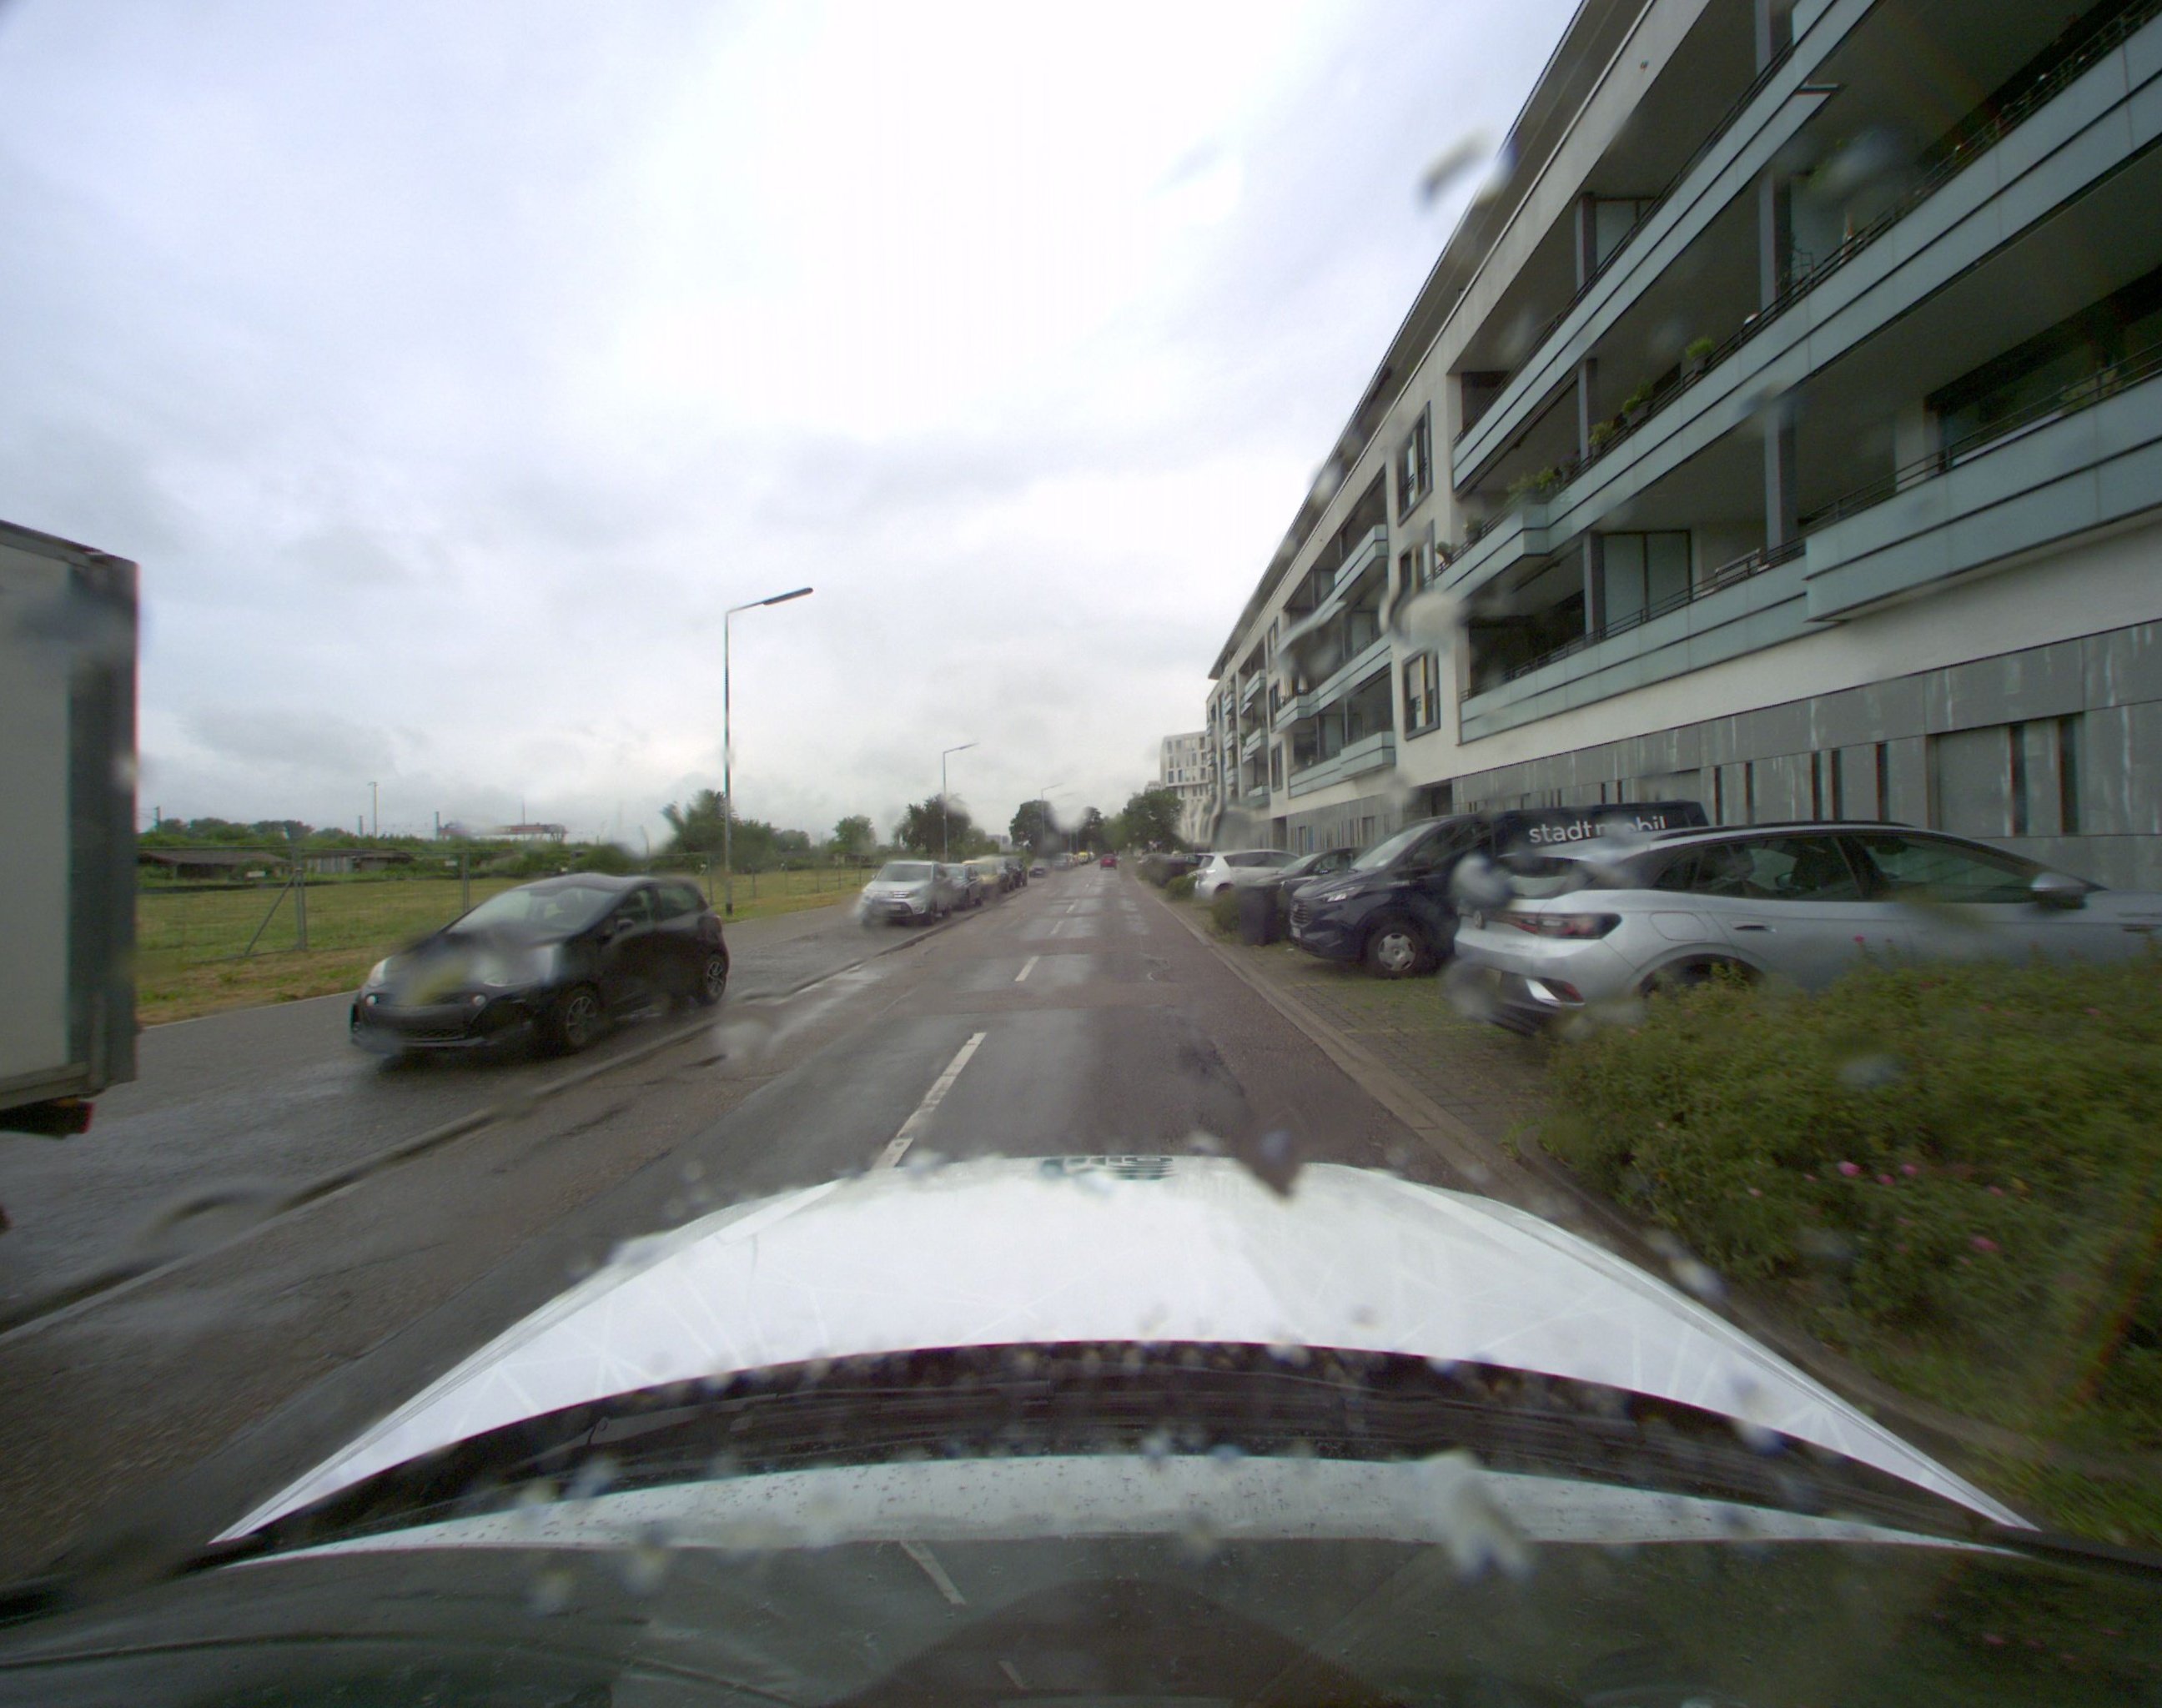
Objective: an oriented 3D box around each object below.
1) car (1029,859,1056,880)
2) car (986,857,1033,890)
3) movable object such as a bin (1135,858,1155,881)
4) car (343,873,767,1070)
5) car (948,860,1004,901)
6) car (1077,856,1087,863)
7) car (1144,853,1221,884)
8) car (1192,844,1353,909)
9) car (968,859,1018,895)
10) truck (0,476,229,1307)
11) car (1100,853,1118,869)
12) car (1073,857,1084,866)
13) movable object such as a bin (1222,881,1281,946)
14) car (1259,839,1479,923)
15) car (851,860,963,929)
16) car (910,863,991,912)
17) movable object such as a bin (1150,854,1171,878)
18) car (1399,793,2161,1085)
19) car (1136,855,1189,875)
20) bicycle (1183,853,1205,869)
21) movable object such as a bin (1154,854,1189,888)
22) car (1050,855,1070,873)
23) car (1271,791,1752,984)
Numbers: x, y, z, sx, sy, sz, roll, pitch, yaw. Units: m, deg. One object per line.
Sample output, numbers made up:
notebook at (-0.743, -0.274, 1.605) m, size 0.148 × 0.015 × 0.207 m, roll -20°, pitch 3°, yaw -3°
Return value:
car at (-3.148, 1.236, 66.580) m, size 1.840 × 1.561 × 4.154 m, roll 1°, pitch 0°, yaw 2°
car at (-3.911, 1.023, 45.340) m, size 1.744 × 1.693 × 4.887 m, roll -1°, pitch 0°, yaw 5°
movable object such as a bin at (4.544, 1.068, 58.074) m, size 1.295 × 1.526 × 1.582 m, roll -3°, pitch 0°, yaw 2°
car at (-5.051, 0.997, 8.651) m, size 1.666 × 1.463 × 4.158 m, roll -2°, pitch 0°, yaw 2°
car at (-4.298, 1.053, 33.960) m, size 1.719 × 1.575 × 4.210 m, roll -1°, pitch -1°, yaw 0°
car at (0.303, 1.157, 169.347) m, size 1.987 × 1.594 × 5.017 m, roll 1°, pitch -1°, yaw 1°
car at (5.969, 0.849, 48.302) m, size 4.330 × 1.530 × 1.893 m, roll -4°, pitch -1°, yaw 1°
car at (5.440, 0.651, 23.506) m, size 4.193 × 1.644 × 1.687 m, roll -2°, pitch -1°, yaw 0°
car at (-4.161, 1.054, 39.001) m, size 1.746 × 1.590 × 4.135 m, roll -1°, pitch 0°, yaw 2°
truck at (-5.271, 0.135, 0.450) m, size 2.427 × 3.068 × 6.702 m, roll 0°, pitch 0°, yaw 1°
car at (3.138, 0.767, 90.906) m, size 1.986 × 1.684 × 4.602 m, roll 0°, pitch -1°, yaw 2°
car at (-0.439, 1.376, 144.212) m, size 1.797 × 1.561 × 4.035 m, roll 1°, pitch 0°, yaw 2°
movable object such as a bin at (2.940, 1.007, 14.025) m, size 0.807 × 1.046 × 0.544 m, roll -2°, pitch -1°, yaw 40°
car at (6.235, 0.575, 17.941) m, size 4.165 × 1.483 × 1.749 m, roll -4°, pitch -1°, yaw -2°
car at (-4.548, 0.994, 22.100) m, size 1.846 × 1.607 × 4.989 m, roll 1°, pitch 0°, yaw 1°
car at (-4.368, 1.076, 27.911) m, size 1.830 × 1.528 × 4.673 m, roll 0°, pitch -1°, yaw 2°
movable object such as a bin at (5.340, 0.800, 54.755) m, size 1.295 × 1.526 × 1.582 m, roll -3°, pitch 0°, yaw 2°
car at (4.956, 0.539, 6.029) m, size 4.396 × 1.601 × 2.086 m, roll -4°, pitch -1°, yaw 6°
car at (7.066, 0.926, 70.683) m, size 4.393 × 1.405 × 1.911 m, roll -4°, pitch -1°, yaw 1°
bicycle at (11.865, 0.723, 85.747) m, size 2.168 × 1.522 × 0.634 m, roll -3°, pitch -1°, yaw 22°
movable object such as a bin at (4.298, 0.790, 38.812) m, size 1.490 × 1.493 × 1.156 m, roll -4°, pitch -1°, yaw 2°
car at (-2.316, 1.134, 91.031) m, size 1.948 × 1.902 × 4.997 m, roll -1°, pitch 0°, yaw 2°
car at (5.225, 0.397, 10.462) m, size 5.032 × 1.929 × 1.982 m, roll -4°, pitch 0°, yaw 1°
